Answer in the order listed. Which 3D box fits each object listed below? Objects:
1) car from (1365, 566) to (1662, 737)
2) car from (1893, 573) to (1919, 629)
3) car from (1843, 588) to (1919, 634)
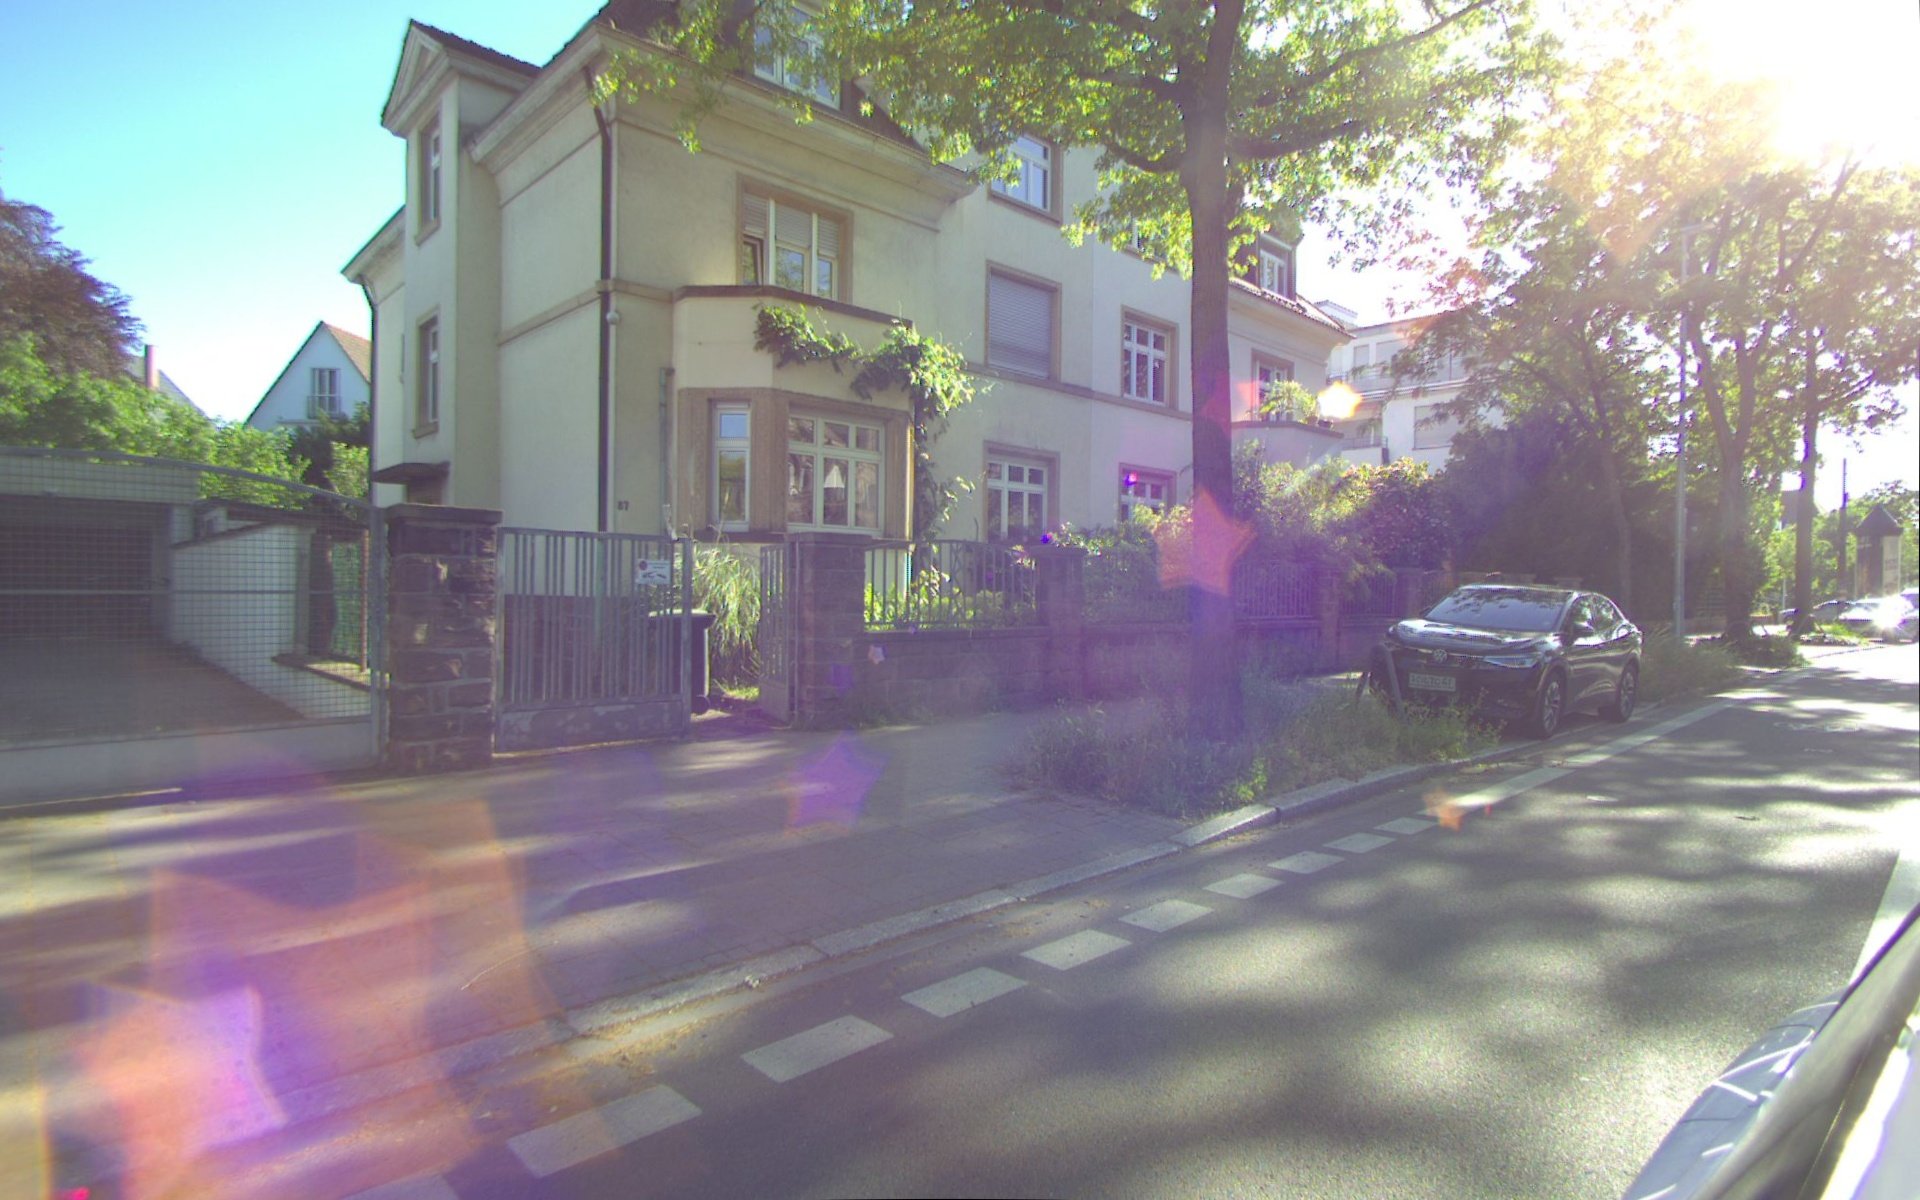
[{"bbox_3d":[6.698,0.493,12.082,4.020,1.626,1.743,0,4,-41],"label":"car"},{"bbox_3d":[36.789,0.047,38.075,4.503,2.039,1.997,0,1,-41],"label":"car"},{"bbox_3d":[31.553,0.334,34.414,3.930,1.469,1.785,0,1,-41],"label":"car"}]
